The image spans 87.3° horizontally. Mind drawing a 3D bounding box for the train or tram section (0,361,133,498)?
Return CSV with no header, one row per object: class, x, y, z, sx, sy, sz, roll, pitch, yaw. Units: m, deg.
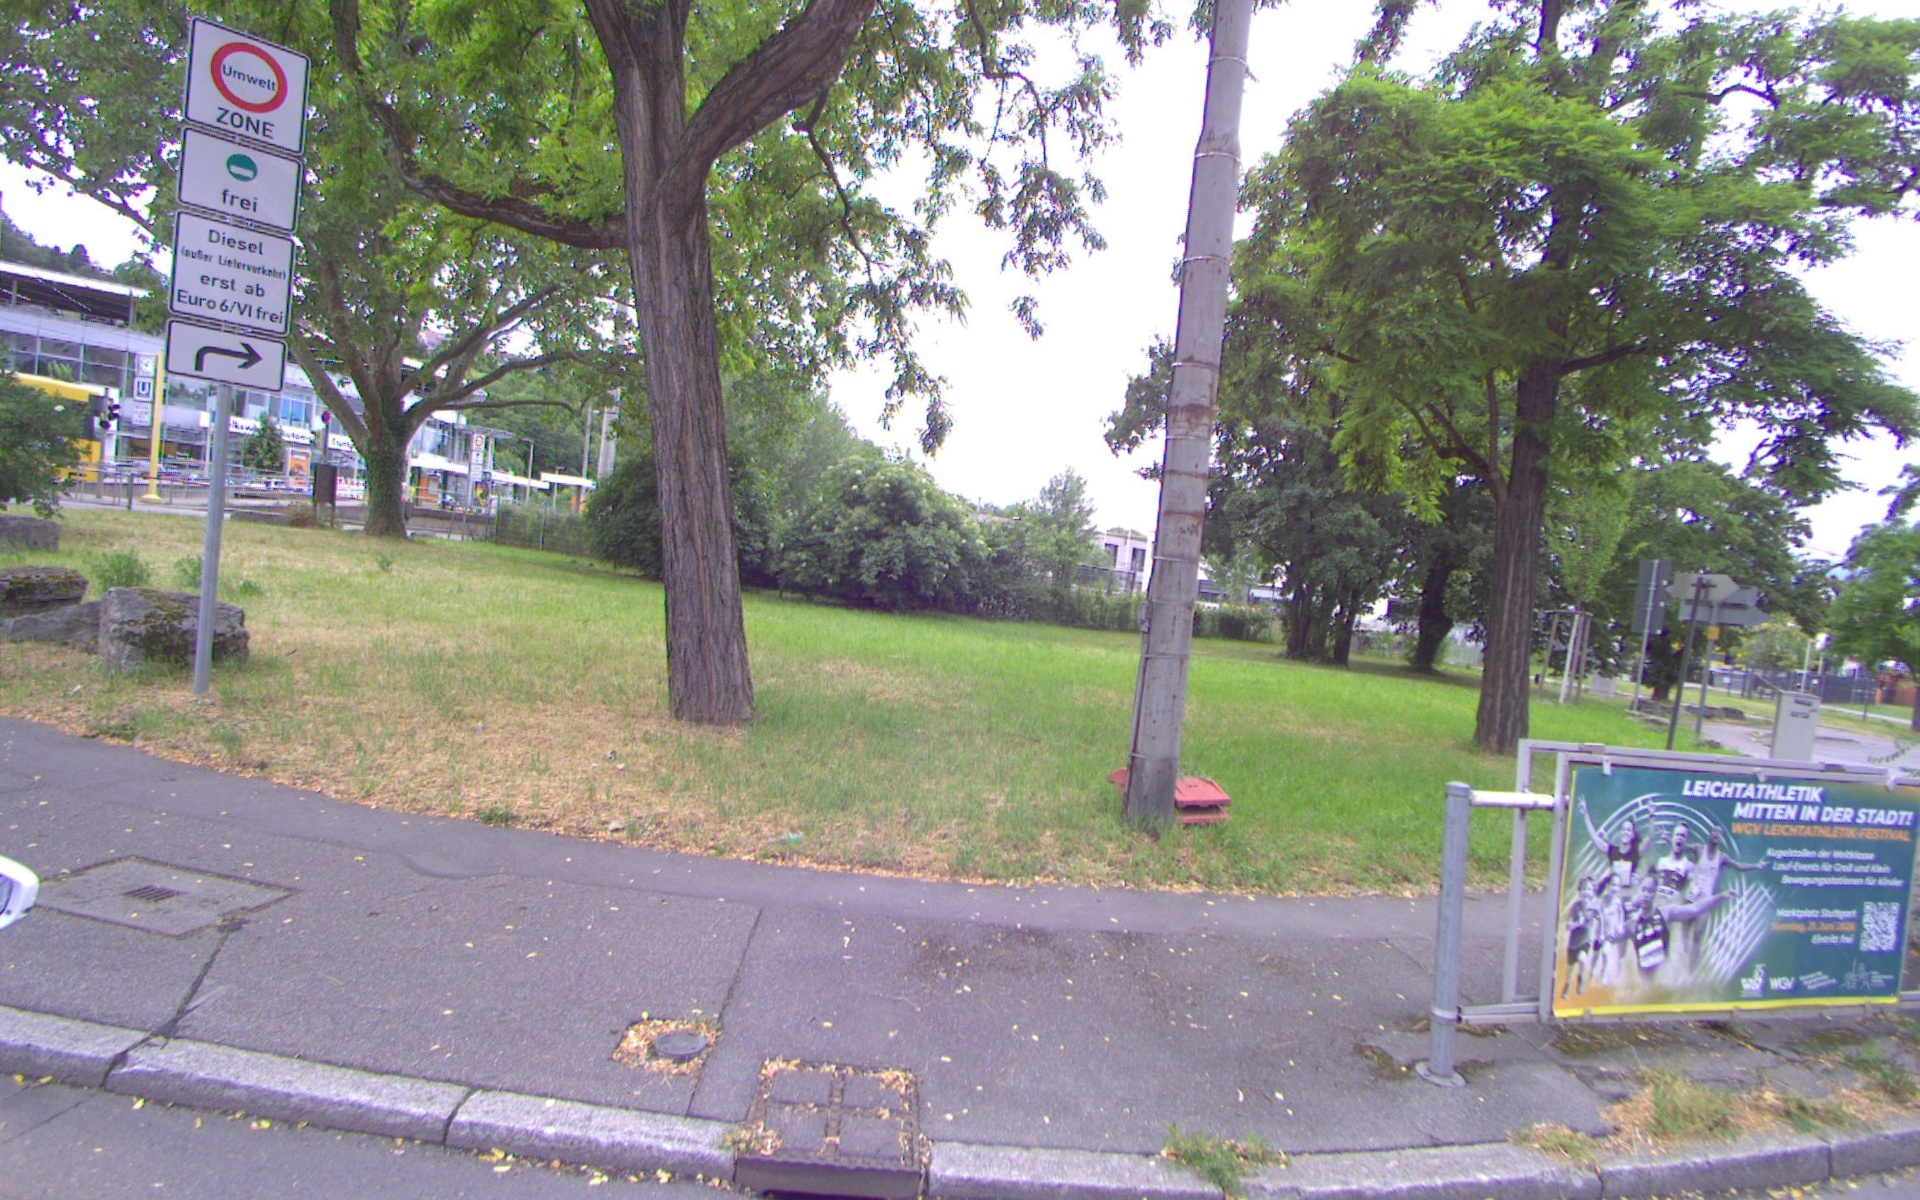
train or tram section,-31.395,-5.477,24.841,3.215,3.713,19.168,7,2,11
